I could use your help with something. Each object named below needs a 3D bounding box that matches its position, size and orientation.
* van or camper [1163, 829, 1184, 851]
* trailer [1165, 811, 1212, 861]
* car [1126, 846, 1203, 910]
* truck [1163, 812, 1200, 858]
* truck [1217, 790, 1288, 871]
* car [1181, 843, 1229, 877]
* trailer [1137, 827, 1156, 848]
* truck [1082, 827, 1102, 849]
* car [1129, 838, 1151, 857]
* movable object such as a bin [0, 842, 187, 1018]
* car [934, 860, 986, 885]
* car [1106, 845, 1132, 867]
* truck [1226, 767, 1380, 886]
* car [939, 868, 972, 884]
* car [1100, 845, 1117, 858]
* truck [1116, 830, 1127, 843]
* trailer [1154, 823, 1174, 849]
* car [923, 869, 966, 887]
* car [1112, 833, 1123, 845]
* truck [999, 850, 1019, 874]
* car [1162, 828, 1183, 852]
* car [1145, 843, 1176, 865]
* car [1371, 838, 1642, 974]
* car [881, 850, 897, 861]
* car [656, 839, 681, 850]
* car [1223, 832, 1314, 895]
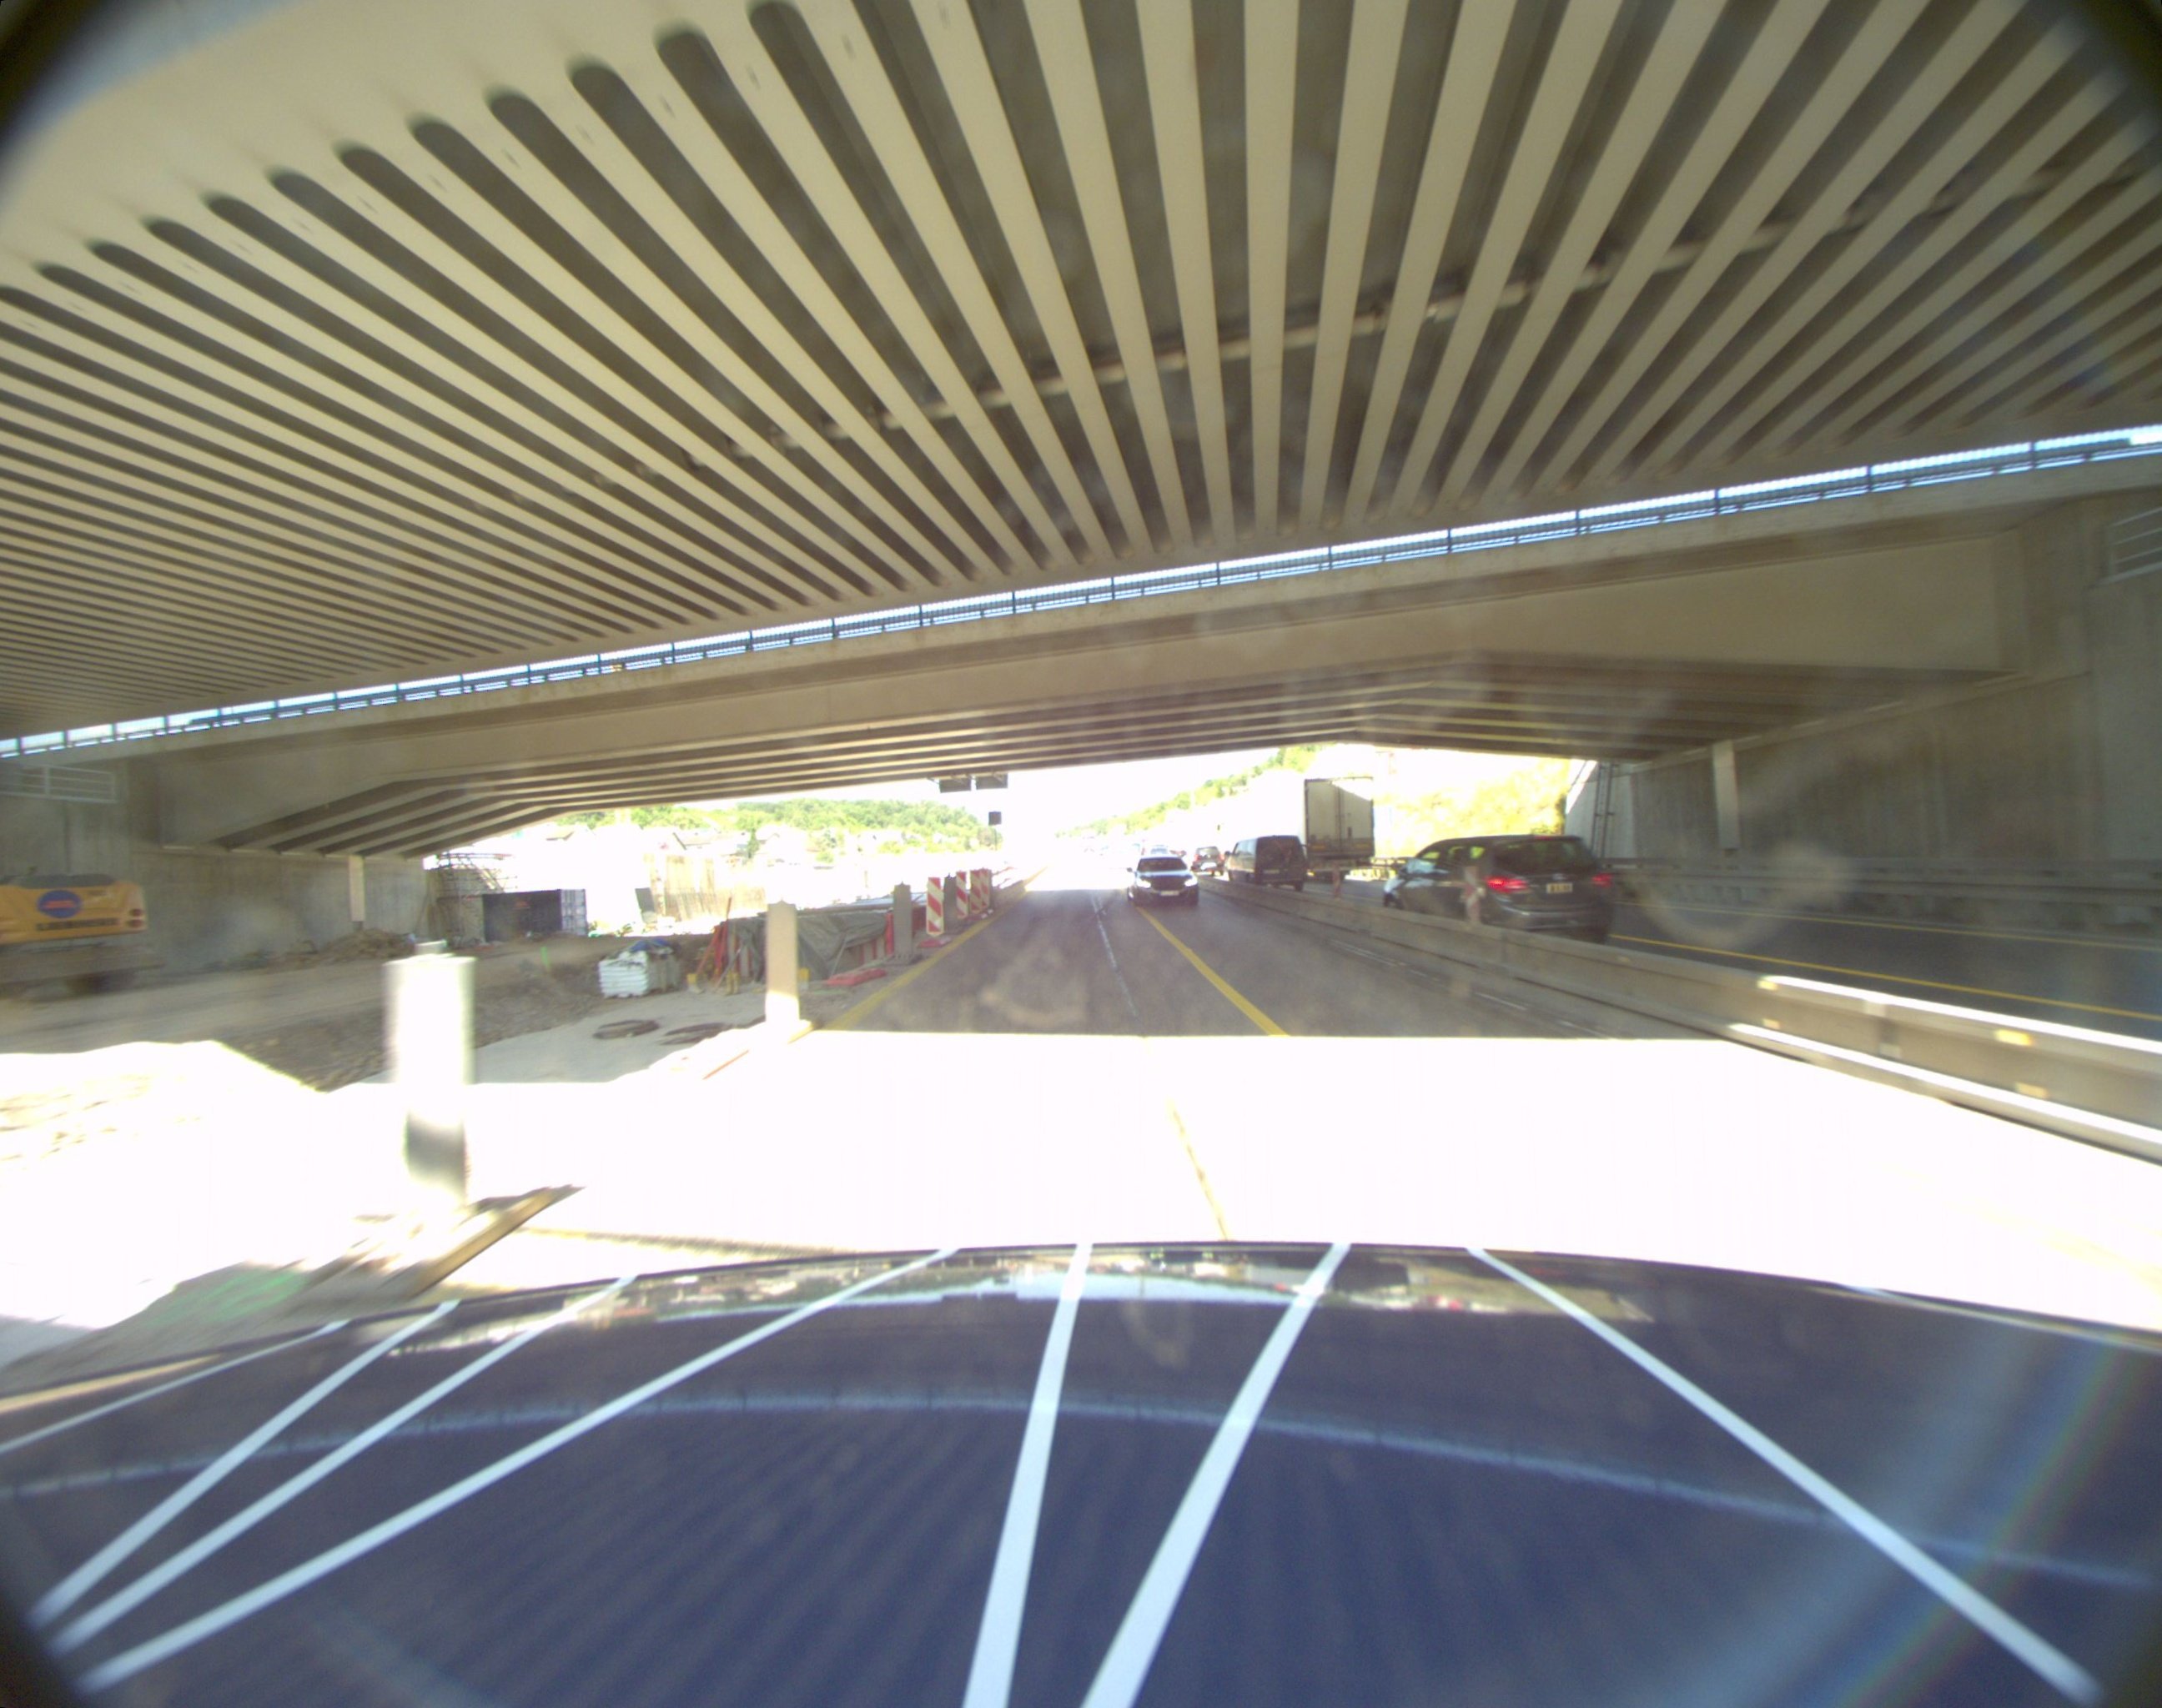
[{"bbox_3d":[11.752,-1.804,96.377,2.127,2.689,6.459,-1,1,12],"label":"van or camper"},{"bbox_3d":[9.468,-1.634,67.908,2.820,4.151,8.240,-3,2,0],"label":"trailer"},{"bbox_3d":[2.347,0.609,22.354,1.838,1.588,4.389,-3,1,1],"label":"car"},{"bbox_3d":[9.443,-1.777,71.944,2.805,4.127,4.072,-3,2,0],"label":"truck"},{"bbox_3d":[9.440,-1.318,42.320,2.666,4.147,5.185,-3,2,1],"label":"truck"},{"bbox_3d":[6.510,0.287,40.297,1.726,1.600,4.523,-4,0,0],"label":"car"},{"bbox_3d":[12.801,-3.212,148.665,2.606,3.849,11.269,-3,2,1],"label":"trailer"},{"bbox_3d":[2.059,-3.108,144.981,3.463,4.024,10.207,-3,2,1],"label":"truck"},{"bbox_3d":[6.037,-0.706,78.115,1.860,1.746,4.607,-3,2,0],"label":"car"},{"bbox_3d":[-22.535,1.563,15.649,4.563,3.269,2.990,-4,2,4],"label":"movable object such as a bin"},{"bbox_3d":[-15.798,2.374,99.077,6.308,2.566,2.053,-6,0,-13],"label":"car"},{"bbox_3d":[2.798,0.106,56.738,1.838,1.465,4.389,-2,1,2],"label":"car"},{"bbox_3d":[9.586,-1.218,35.035,2.776,4.289,13.484,-3,2,-1],"label":"truck"},{"bbox_3d":[-15.751,2.714,95.339,3.871,1.676,1.692,-4,1,-5],"label":"car"},{"bbox_3d":[3.533,-0.294,98.077,1.801,1.543,3.999,-3,0,-2],"label":"car"},{"bbox_3d":[13.402,-5.807,251.856,3.115,4.024,13.153,-3,2,1],"label":"truck"},{"bbox_3d":[12.669,-2.827,116.571,2.661,3.795,11.821,-2,2,5],"label":"trailer"},{"bbox_3d":[-16.507,2.906,92.186,4.801,1.759,1.720,-4,1,1],"label":"car"},{"bbox_3d":[9.012,-3.694,186.566,2.211,2.615,6.626,-3,1,0],"label":"car"},{"bbox_3d":[-11.433,1.229,121.663,2.504,3.386,5.434,-3,2,1],"label":"truck"},{"bbox_3d":[11.490,-1.840,96.107,2.280,2.805,6.558,-2,2,5],"label":"car"},{"bbox_3d":[6.261,-0.056,60.236,1.860,1.519,4.771,-3,2,0],"label":"car"},{"bbox_3d":[6.011,0.610,11.394,1.753,1.600,4.141,-3,1,1],"label":"car"},{"bbox_3d":[-33.426,0.240,132.447,1.658,1.594,4.604,-3,2,0],"label":"car"},{"bbox_3d":[-60.770,-1.435,111.900,1.545,1.478,3.606,-3,2,1],"label":"car"},{"bbox_3d":[6.407,0.276,26.558,1.804,1.921,4.966,-3,1,-1],"label":"car"}]
